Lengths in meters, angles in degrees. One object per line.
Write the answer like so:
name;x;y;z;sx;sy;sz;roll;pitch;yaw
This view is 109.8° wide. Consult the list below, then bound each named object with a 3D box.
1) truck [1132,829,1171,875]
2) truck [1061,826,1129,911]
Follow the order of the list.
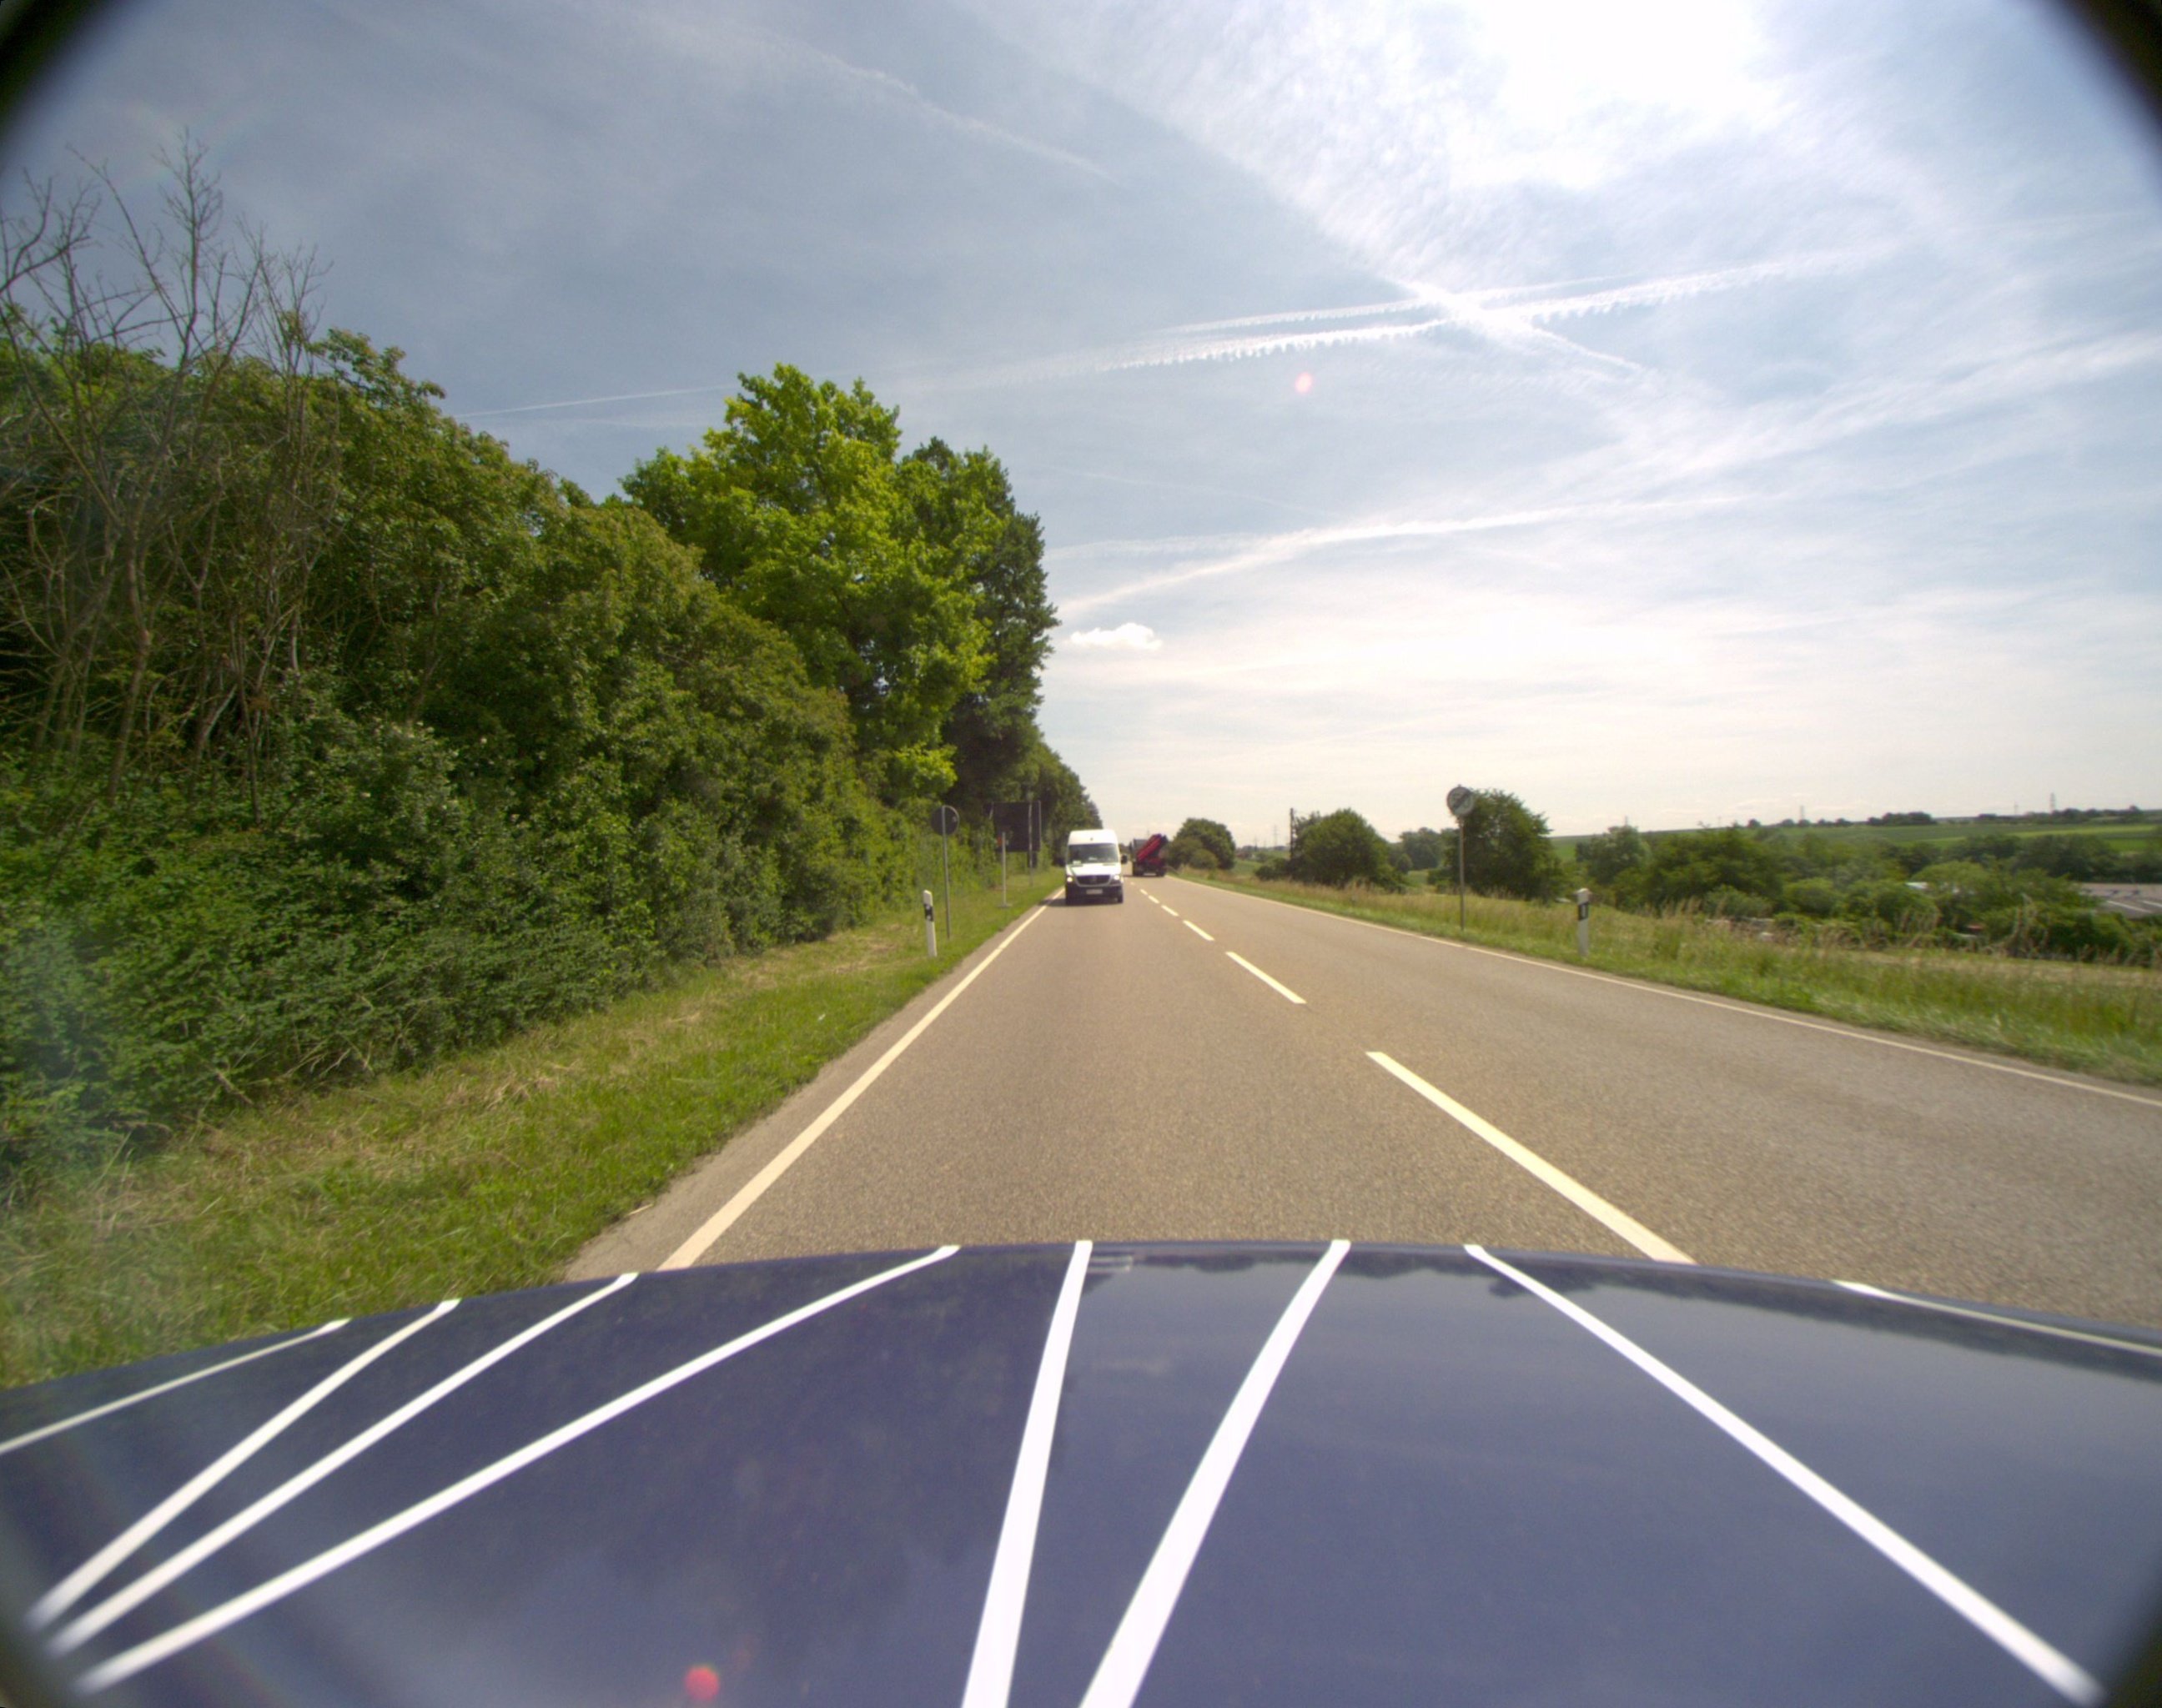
truck;5.972;-0.138;65.879;2.762;3.555;11.068;1;0;3
truck;0.642;0.434;27.032;2.022;2.567;7.227;-2;0;3
